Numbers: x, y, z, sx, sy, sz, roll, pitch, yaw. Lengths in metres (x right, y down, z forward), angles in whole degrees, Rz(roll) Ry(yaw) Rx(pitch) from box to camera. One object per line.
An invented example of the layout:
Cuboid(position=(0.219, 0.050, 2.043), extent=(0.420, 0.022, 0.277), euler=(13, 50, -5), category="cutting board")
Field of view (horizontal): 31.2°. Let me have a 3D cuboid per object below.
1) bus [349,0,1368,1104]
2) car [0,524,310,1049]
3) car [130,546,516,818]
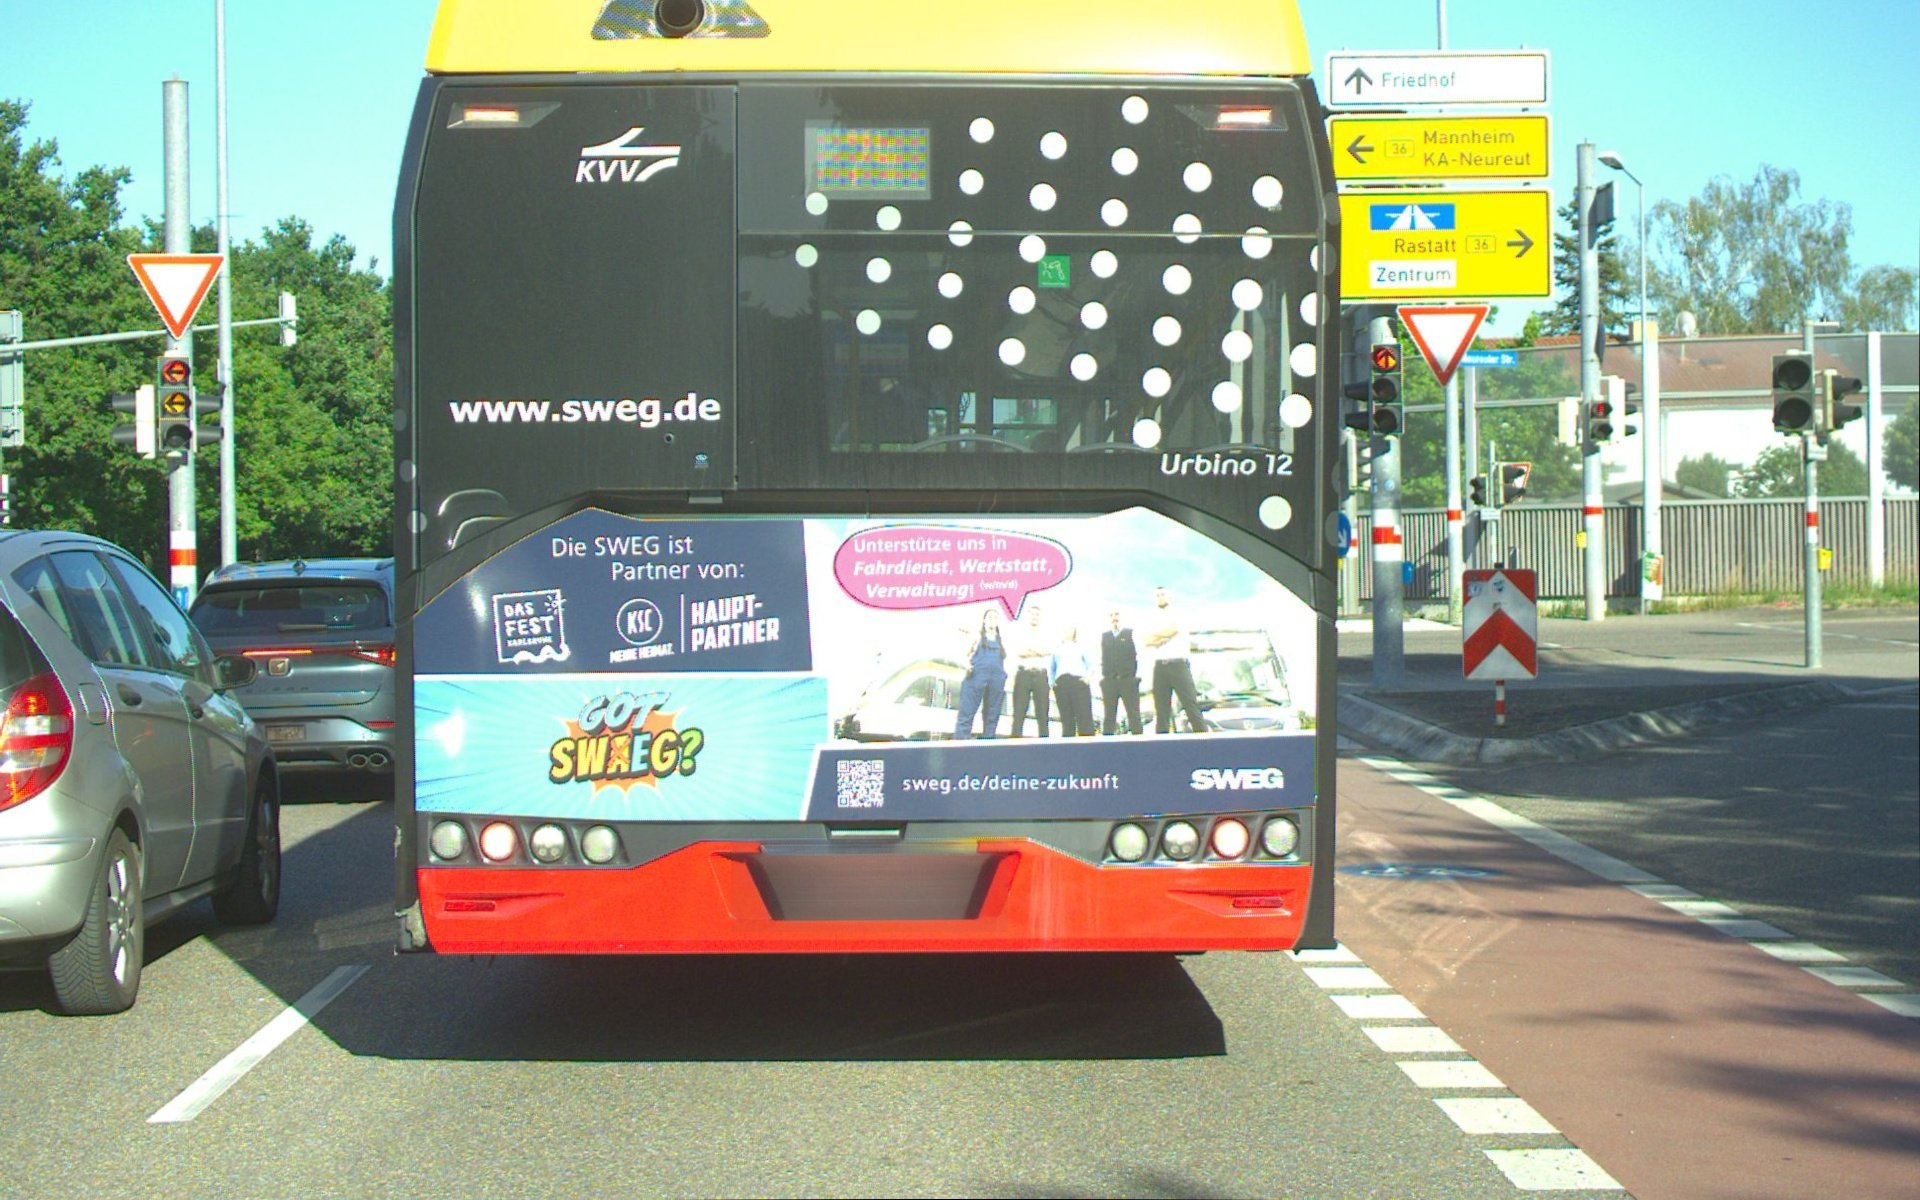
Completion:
Cuboid(position=(-0.284, -0.404, 14.885), extent=(2.642, 3.156, 11.861), euler=(0, 1, 0), category="bus")
Cuboid(position=(-3.595, 0.555, 12.394), extent=(1.761, 1.584, 4.000), euler=(-2, 1, -1), category="car")
Cuboid(position=(-3.804, 0.428, 21.118), extent=(1.692, 1.453, 3.751), euler=(-2, 1, -1), category="car")
